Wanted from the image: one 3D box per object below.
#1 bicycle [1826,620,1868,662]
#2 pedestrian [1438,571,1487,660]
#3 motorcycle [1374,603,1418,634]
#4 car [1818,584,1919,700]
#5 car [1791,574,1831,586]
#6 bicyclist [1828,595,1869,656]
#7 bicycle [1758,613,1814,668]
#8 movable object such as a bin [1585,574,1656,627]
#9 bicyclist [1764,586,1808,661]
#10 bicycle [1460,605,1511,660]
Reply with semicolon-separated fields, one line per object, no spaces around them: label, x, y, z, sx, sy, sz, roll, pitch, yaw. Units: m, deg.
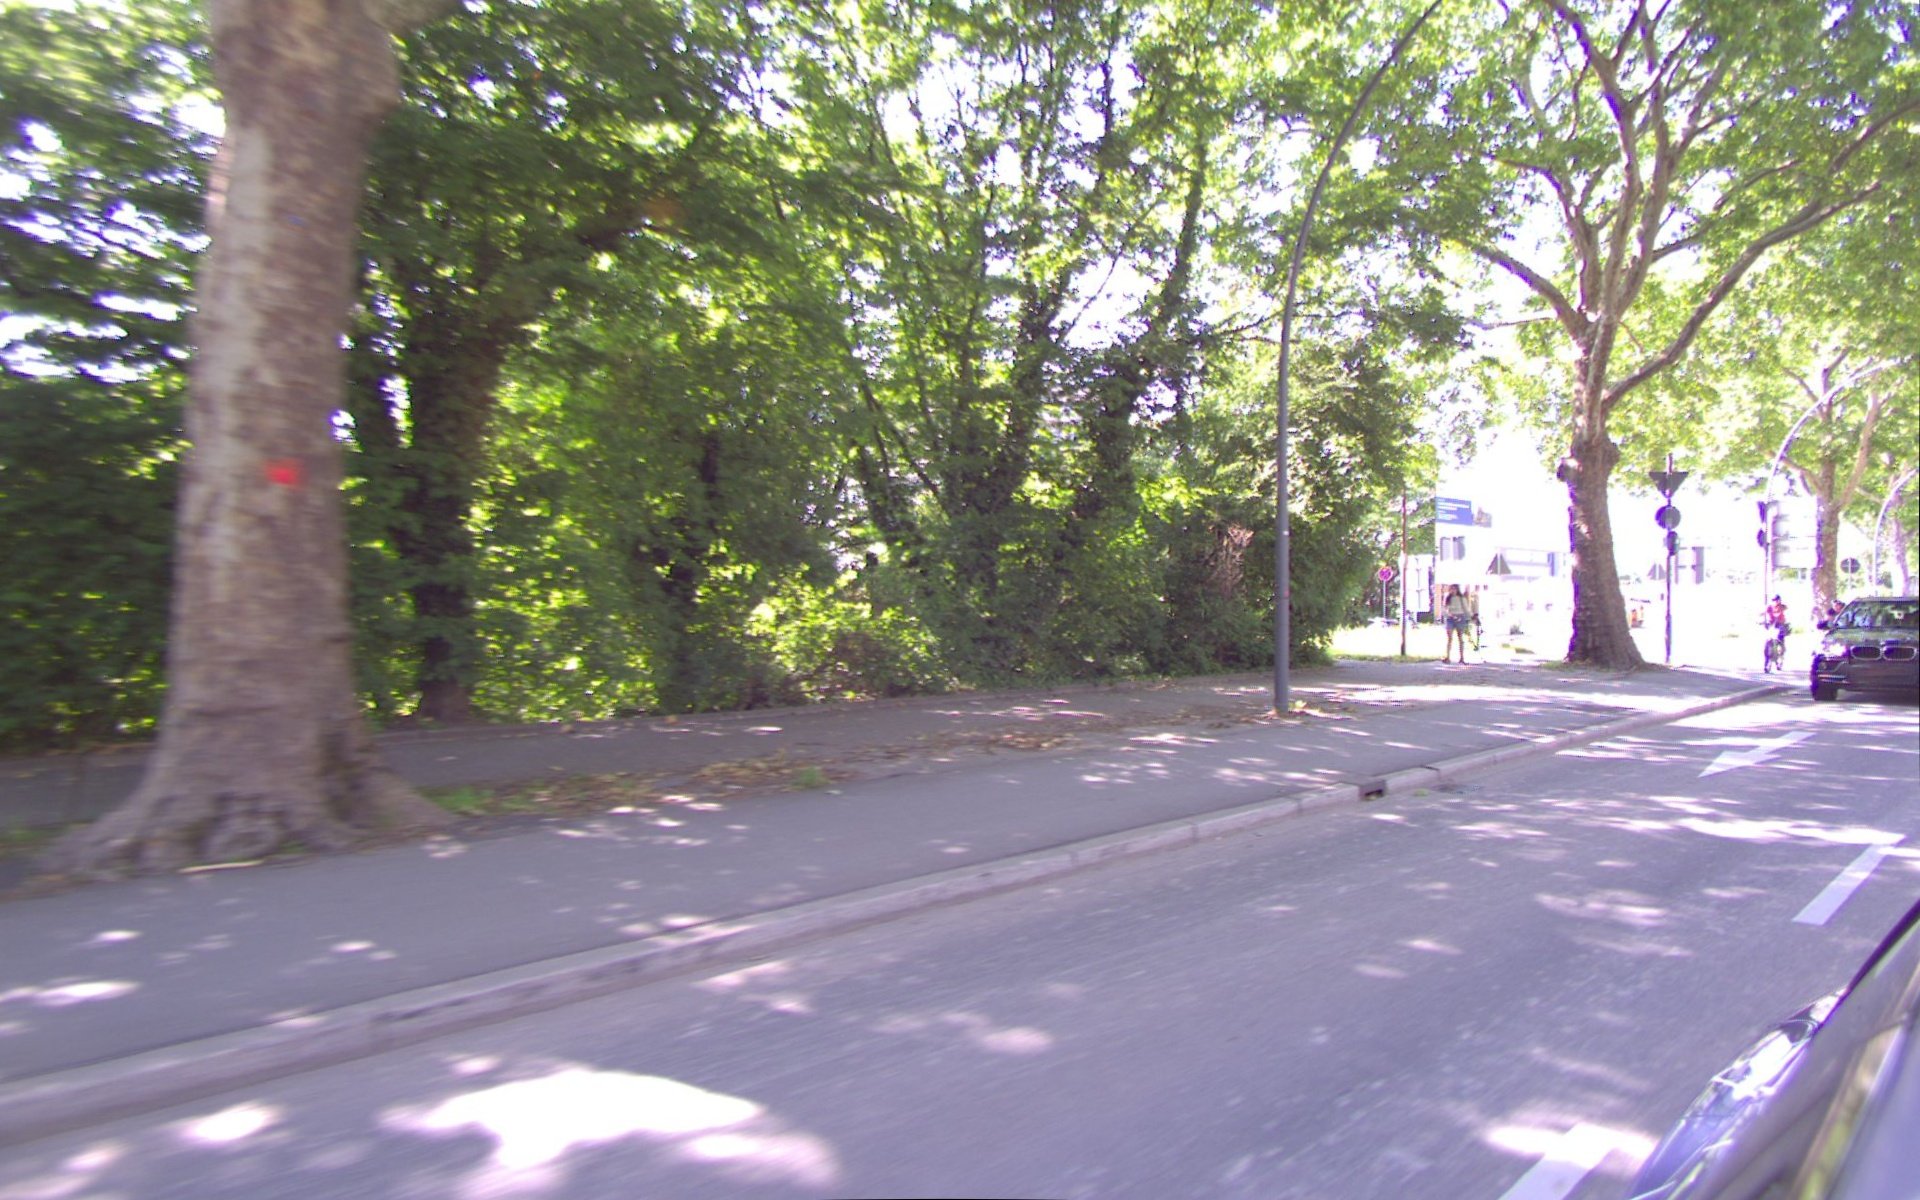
bicycle;22.978;1.049;26.202;1.751;0.992;0.598;0;2;-42
pedestrian;10.551;0.318;21.254;0.859;1.808;0.633;0;-1;-41
motorcycle;14.159;0.581;32.881;1.219;0.980;0.464;0;-1;44
car;15.899;0.637;16.785;4.078;1.752;1.923;0;-1;-41
car;114.710;-2.629;136.469;1.778;1.529;3.990;1;0;-43
bicyclist;22.997;0.655;26.192;1.194;1.508;0.599;1;2;-42
bicycle;18.585;0.891;22.754;1.911;1.143;0.652;0;1;-41
movable object such as a bin;40.638;0.042;62.163;5.885;3.111;2.371;1;-1;-44
bicyclist;18.570;0.514;22.746;0.720;1.620;0.621;1;1;-42
bicycle;11.005;0.662;21.158;1.669;1.095;0.350;0;-1;-41
